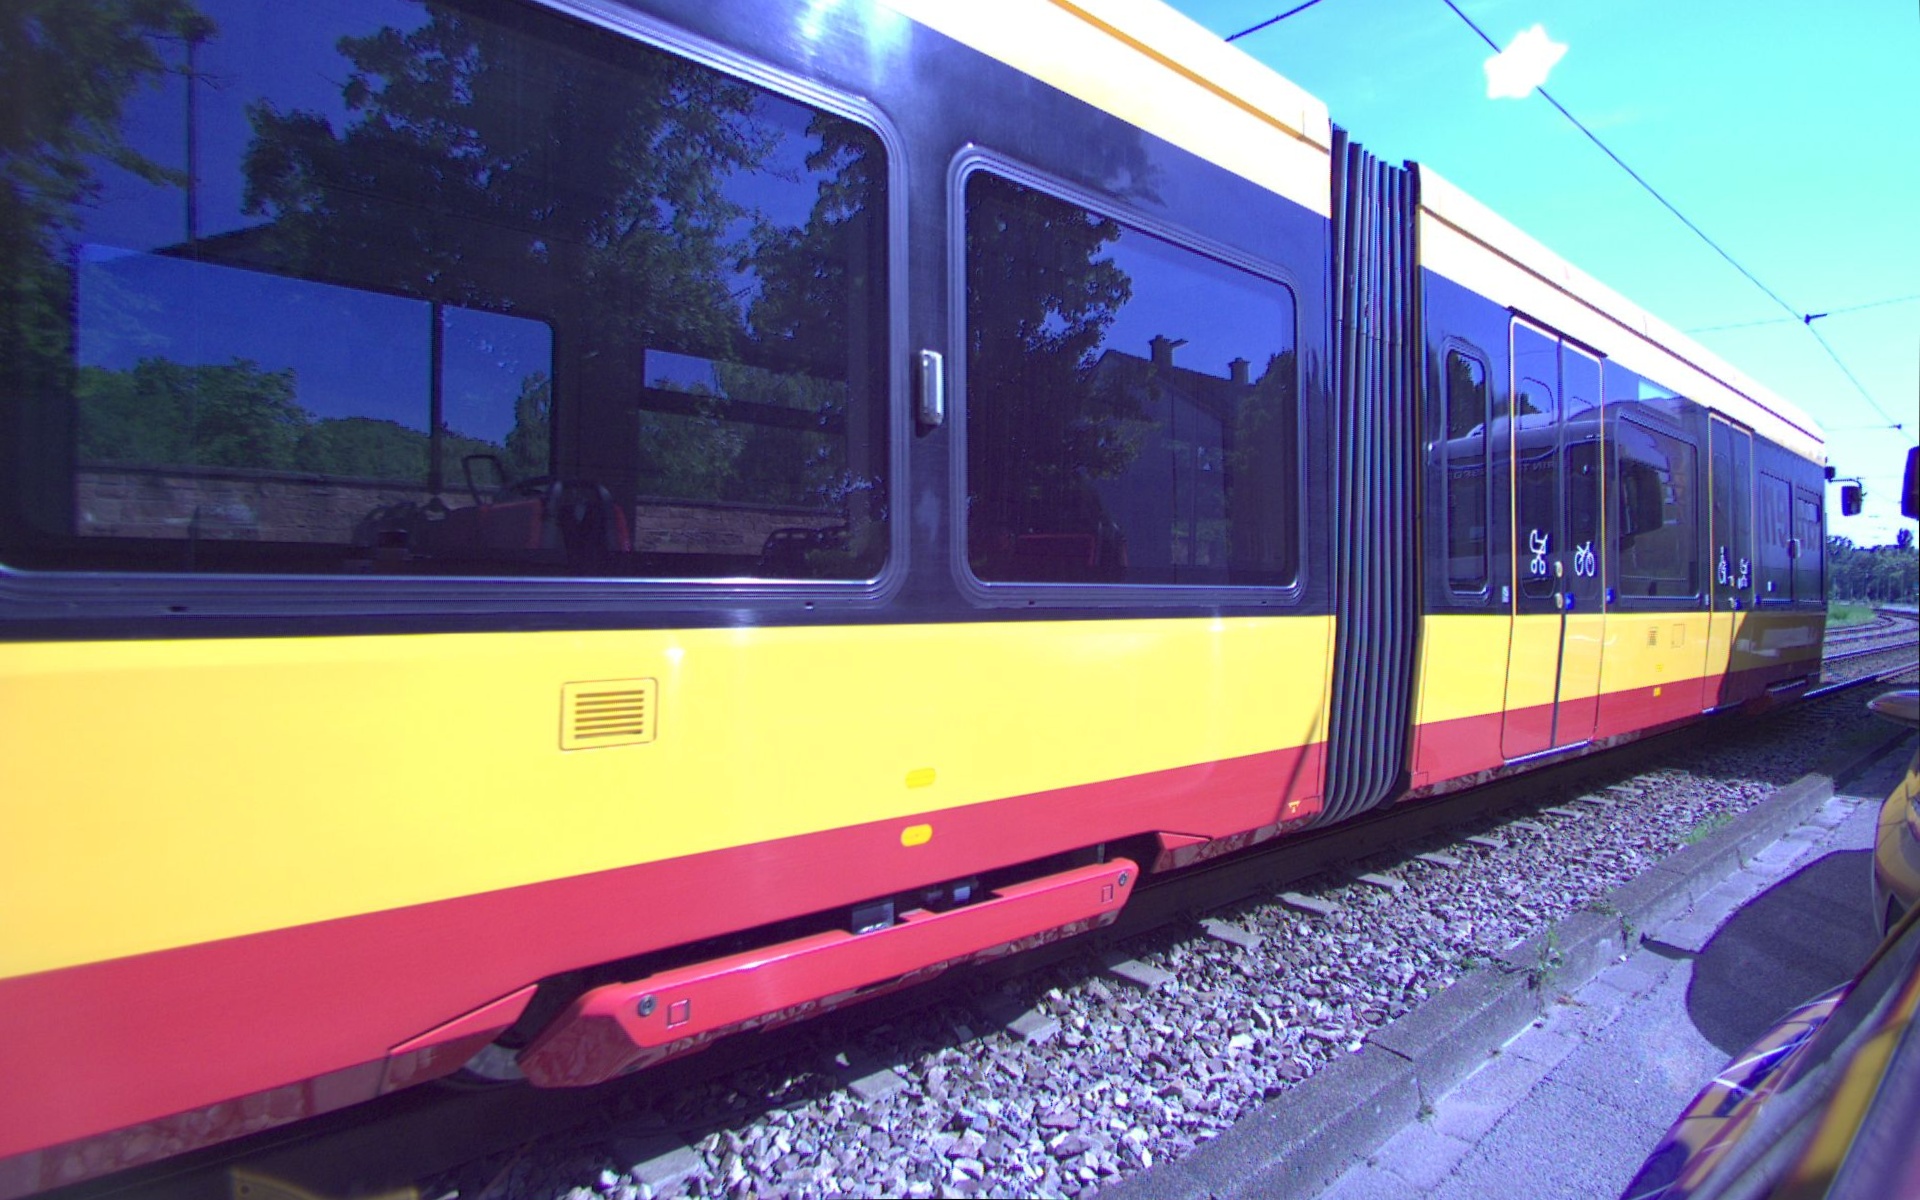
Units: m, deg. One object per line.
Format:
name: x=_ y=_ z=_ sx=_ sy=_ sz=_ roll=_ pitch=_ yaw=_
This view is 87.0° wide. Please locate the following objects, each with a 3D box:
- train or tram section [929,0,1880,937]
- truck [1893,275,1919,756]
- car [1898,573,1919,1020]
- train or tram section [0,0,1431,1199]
train or tram section: x=5.368 y=-0.650 z=9.167 sx=12.174 sy=3.903 sz=2.876 roll=0 pitch=2 yaw=-41
truck: x=14.254 y=-0.642 z=12.027 sx=14.652 sy=3.927 sz=2.934 roll=0 pitch=2 yaw=-41
car: x=5.081 y=0.666 z=3.987 sx=3.930 sy=1.448 sz=1.573 roll=0 pitch=2 yaw=-41
train or tram section: x=-3.631 y=-0.540 z=1.291 sx=12.174 sy=3.903 sz=2.876 roll=0 pitch=2 yaw=-41
